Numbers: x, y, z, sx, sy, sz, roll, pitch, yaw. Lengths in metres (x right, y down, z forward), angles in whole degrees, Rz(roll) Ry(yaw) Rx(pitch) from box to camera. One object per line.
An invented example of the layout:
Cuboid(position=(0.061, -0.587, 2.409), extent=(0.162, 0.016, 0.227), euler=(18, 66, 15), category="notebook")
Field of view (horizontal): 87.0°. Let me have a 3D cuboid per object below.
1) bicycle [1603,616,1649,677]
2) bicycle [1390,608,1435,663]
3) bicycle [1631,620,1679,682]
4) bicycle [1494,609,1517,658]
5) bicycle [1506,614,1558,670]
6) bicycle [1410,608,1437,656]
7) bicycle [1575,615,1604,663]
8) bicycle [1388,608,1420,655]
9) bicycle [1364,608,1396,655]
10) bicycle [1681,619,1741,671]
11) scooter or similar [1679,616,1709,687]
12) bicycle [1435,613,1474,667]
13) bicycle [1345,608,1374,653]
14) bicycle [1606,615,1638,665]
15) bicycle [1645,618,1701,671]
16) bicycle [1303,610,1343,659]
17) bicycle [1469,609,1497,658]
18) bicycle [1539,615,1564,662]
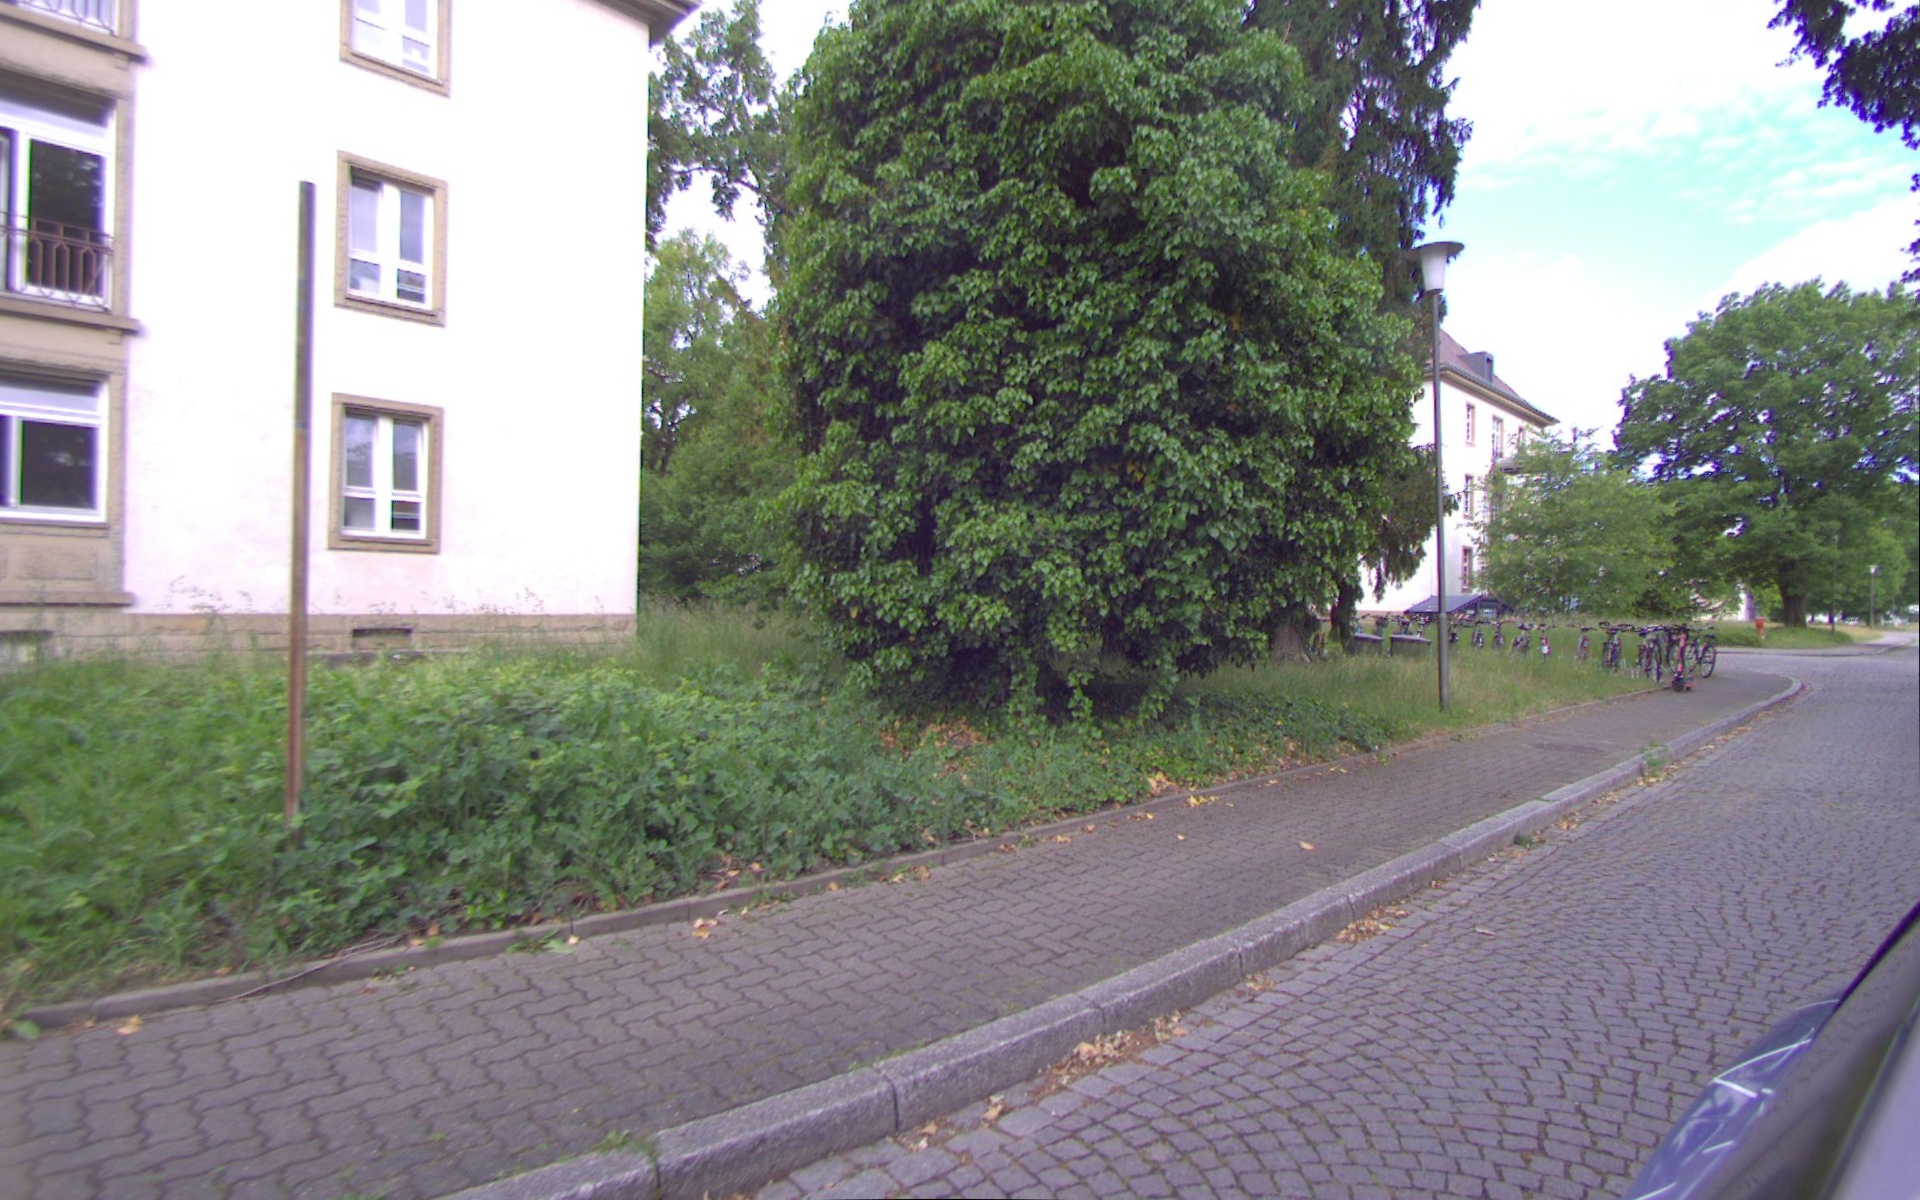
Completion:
Cuboid(position=(13.160, 0.897, 20.030), extent=(0.546, 1.128, 1.788), euler=(0, 0, 27), category="bicycle")
Cuboid(position=(10.188, 0.775, 22.751), extent=(0.548, 1.186, 1.731), euler=(0, 0, 37), category="bicycle")
Cuboid(position=(13.615, 0.979, 19.849), extent=(0.546, 1.128, 1.753), euler=(0, 0, 27), category="bicycle")
Cuboid(position=(13.055, 0.787, 24.211), extent=(0.473, 1.126, 1.747), euler=(0, 0, 29), category="bicycle")
Cuboid(position=(11.802, 0.836, 20.920), extent=(0.610, 1.078, 1.814), euler=(0, 0, 19), category="bicycle")
Cuboid(position=(11.556, 0.776, 25.216), extent=(0.473, 1.126, 1.747), euler=(0, 0, 29), category="bicycle")
Cuboid(position=(14.571, 0.888, 23.432), extent=(0.473, 1.020, 1.651), euler=(0, 1, 29), category="bicycle")
Cuboid(position=(11.121, 0.777, 25.337), extent=(0.439, 1.126, 1.631), euler=(0, 0, 34), category="bicycle")
Cuboid(position=(10.594, 0.771, 25.503), extent=(0.439, 1.126, 1.631), euler=(0, 0, 34), category="bicycle")
Cuboid(position=(16.512, 0.969, 22.282), extent=(0.471, 1.020, 1.616), euler=(0, 1, 14), category="bicycle")
Cuboid(position=(13.345, 0.918, 18.386), extent=(0.356, 1.225, 1.120), euler=(0, -1, 41), category="scooter or similar")
Cuboid(position=(10.507, 0.823, 21.533), extent=(0.544, 1.078, 1.743), euler=(0, 0, 19), category="bicycle")
Cuboid(position=(10.279, 0.766, 26.035), extent=(0.473, 1.126, 1.747), euler=(0, 0, 29), category="bicycle")
Cuboid(position=(15.072, 0.891, 23.069), extent=(0.473, 1.020, 1.651), euler=(0, 1, 29), category="bicycle")
Cuboid(position=(16.039, 0.977, 22.809), extent=(0.471, 1.087, 1.616), euler=(0, 1, 14), category="bicycle")
Cuboid(position=(8.192, 0.762, 22.789), extent=(0.547, 1.055, 1.665), euler=(0, 0, 31), category="bicycle")
Cuboid(position=(12.713, 0.787, 24.624), extent=(0.472, 1.126, 1.751), euler=(0, 0, 23), category="bicycle")
Cuboid(position=(13.976, 0.884, 23.927), extent=(0.473, 1.020, 1.651), euler=(0, 1, 29), category="bicycle")
